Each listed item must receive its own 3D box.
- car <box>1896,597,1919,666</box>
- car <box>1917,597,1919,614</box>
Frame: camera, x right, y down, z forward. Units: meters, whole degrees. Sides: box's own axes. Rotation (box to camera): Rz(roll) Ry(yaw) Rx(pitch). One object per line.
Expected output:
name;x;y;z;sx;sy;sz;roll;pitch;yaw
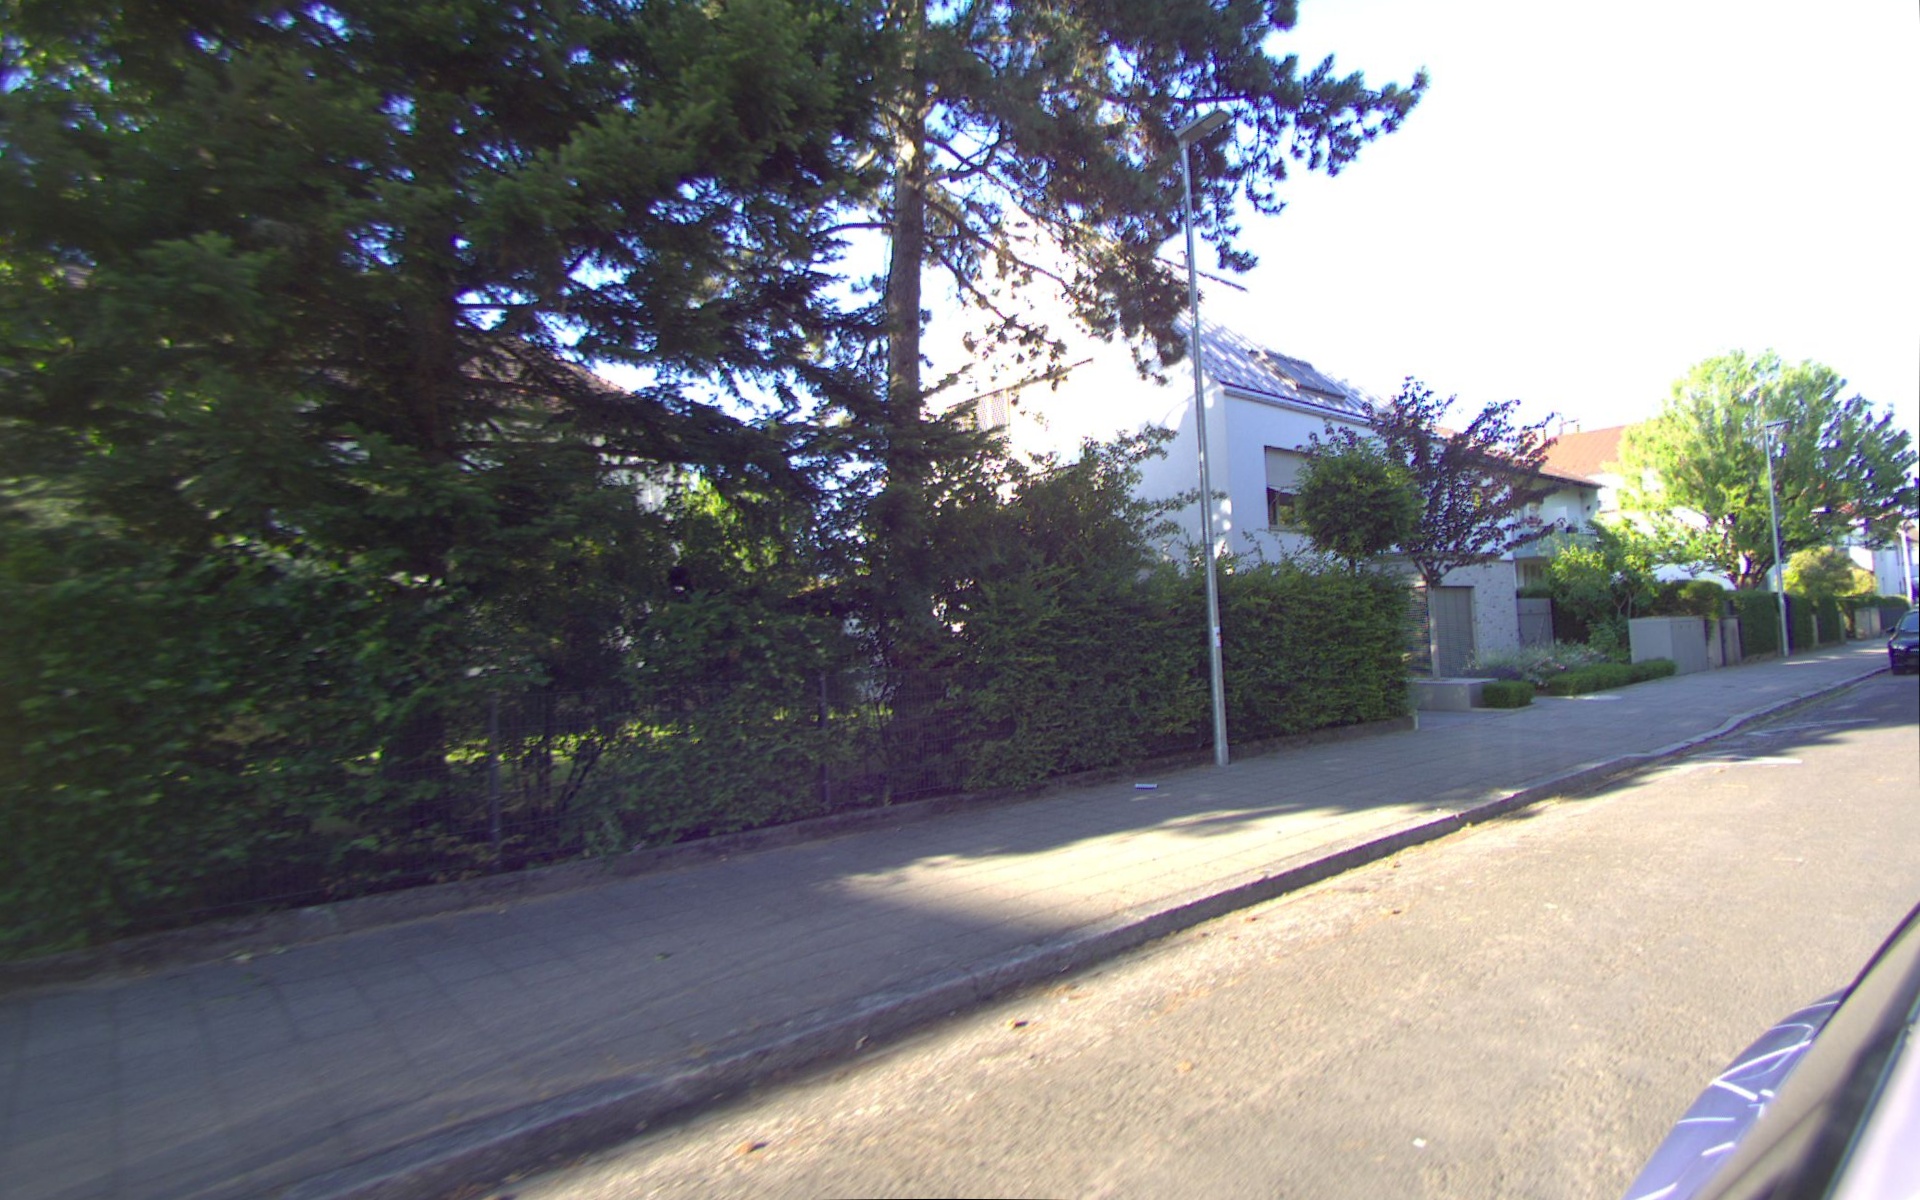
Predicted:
car;22.845;0.641;23.138;4.216;1.496;1.749;0;-5;-44
car;26.648;0.571;26.738;3.865;1.503;1.691;0;-8;-45
